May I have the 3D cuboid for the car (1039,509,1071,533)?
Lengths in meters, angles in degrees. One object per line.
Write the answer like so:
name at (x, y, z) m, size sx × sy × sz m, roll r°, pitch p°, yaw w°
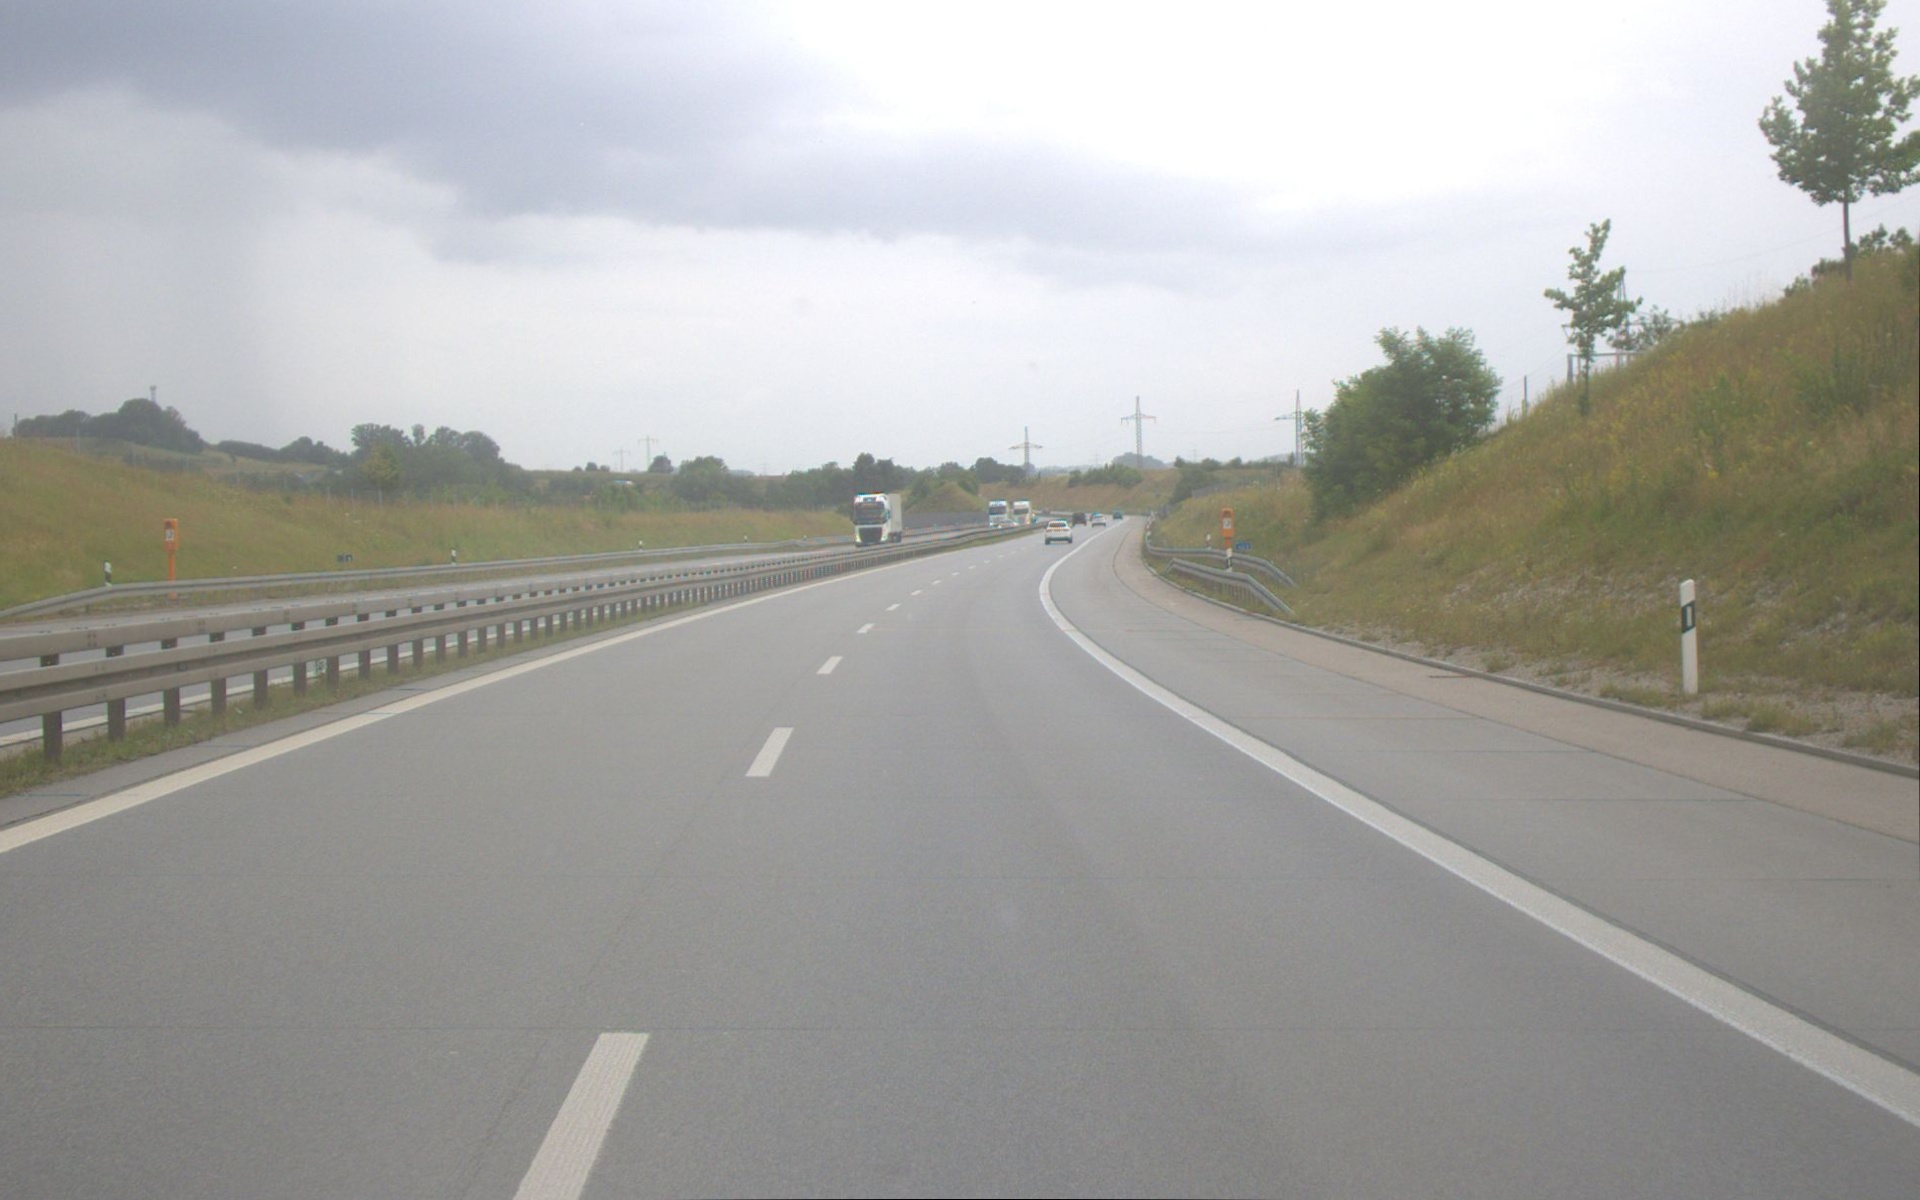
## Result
car at (6.753, -5.629, 244.866) m, size 1.957 × 1.645 × 3.999 m, roll -1°, pitch 0°, yaw 6°

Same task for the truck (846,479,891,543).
truck at (-6.803, -6.636, 256.168) m, size 2.795 × 4.631 × 6.920 m, roll -1°, pitch 1°, yaw 2°
